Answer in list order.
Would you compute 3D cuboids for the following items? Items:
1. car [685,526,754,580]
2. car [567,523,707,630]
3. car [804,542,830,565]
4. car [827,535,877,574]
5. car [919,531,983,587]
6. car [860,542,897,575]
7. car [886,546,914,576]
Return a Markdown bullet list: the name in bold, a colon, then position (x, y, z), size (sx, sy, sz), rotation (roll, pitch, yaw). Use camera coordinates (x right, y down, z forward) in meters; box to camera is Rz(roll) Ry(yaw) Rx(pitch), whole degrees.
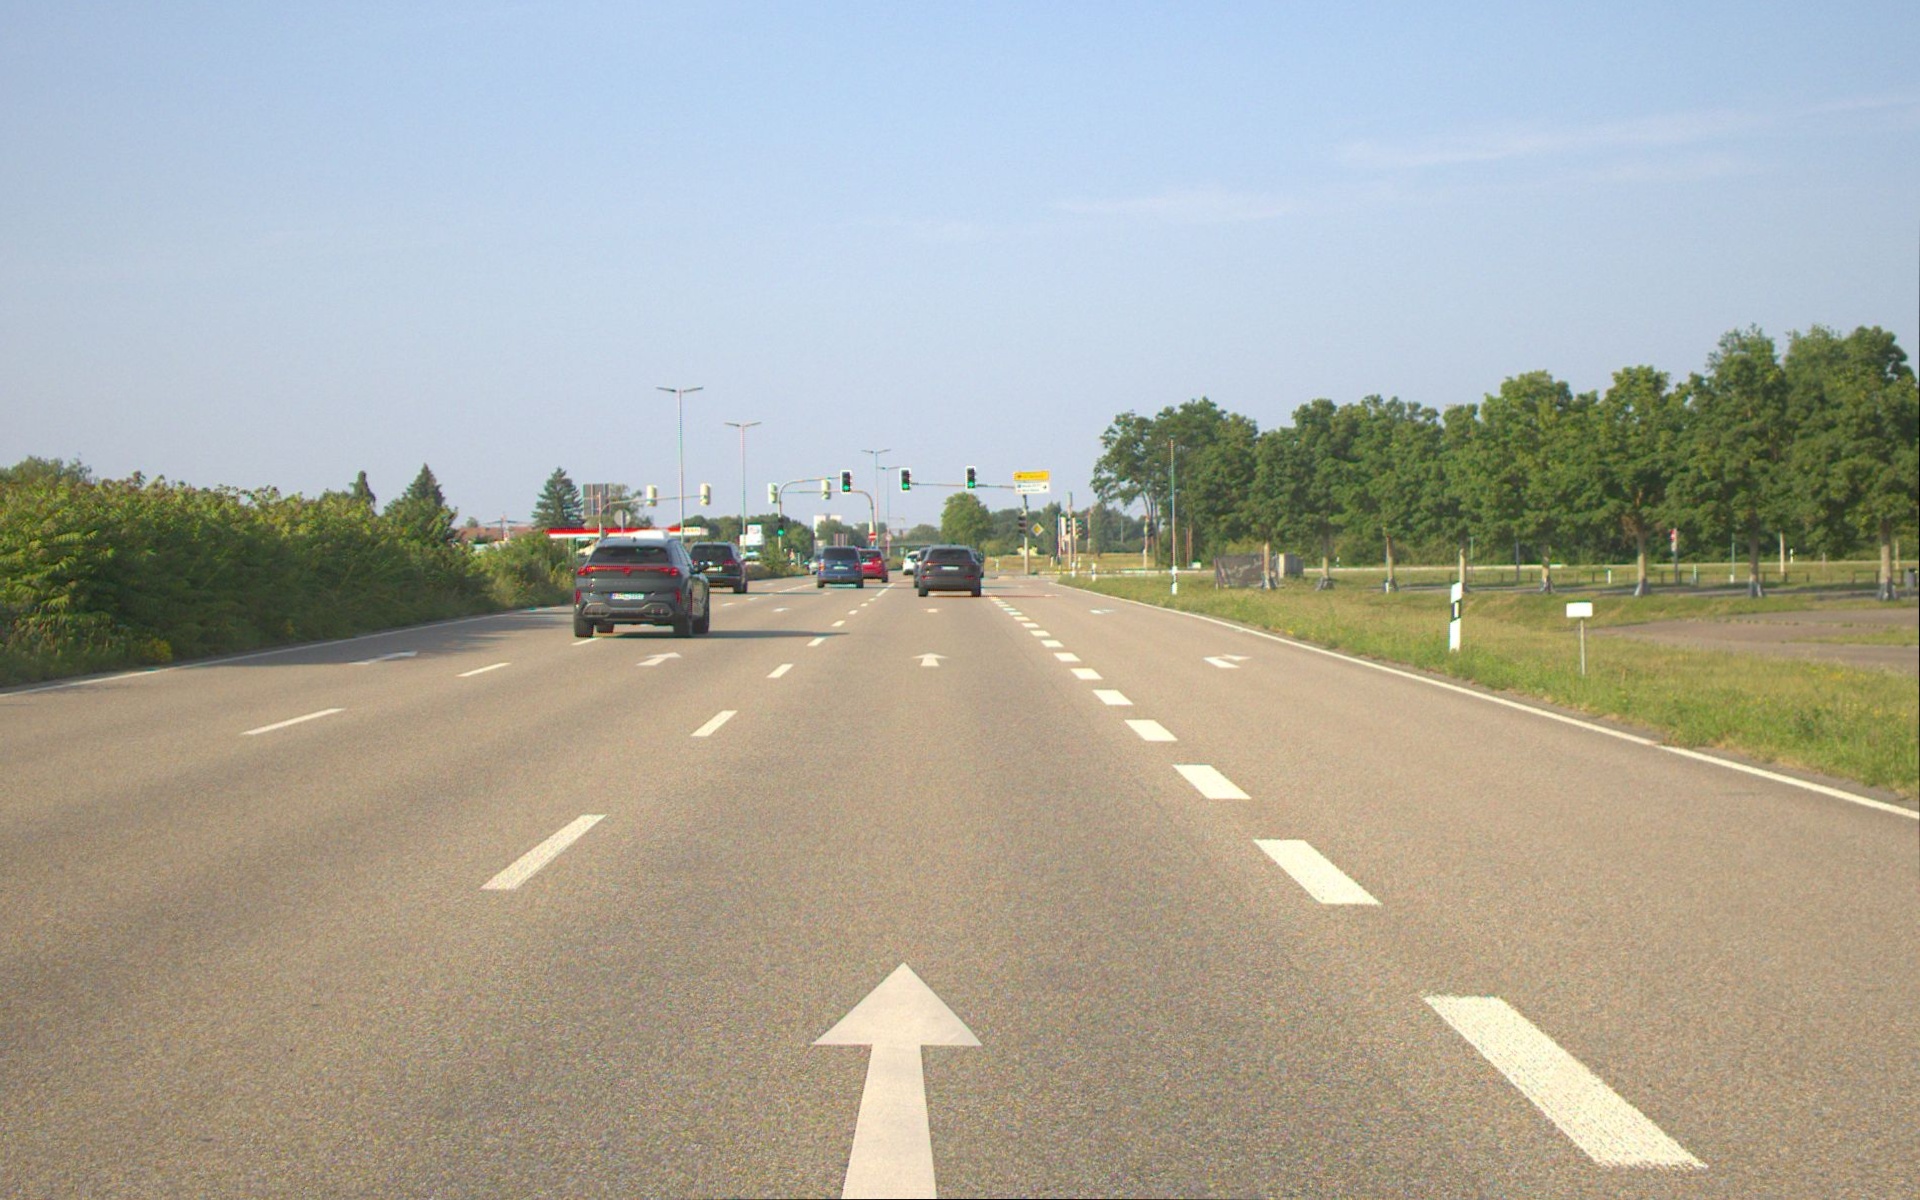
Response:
- **car**: position (-7.895, -1.555, 113.142), size (1.932, 1.674, 4.401), rotation (2, 1, 0)
- **car**: position (-5.166, -0.409, 55.466), size (1.845, 1.606, 4.401), rotation (2, 1, 0)
- **car**: position (-9.726, -3.181, 234.609), size (1.600, 1.527, 4.000), rotation (2, 1, 0)
- **car**: position (-4.222, -1.779, 134.818), size (1.812, 1.458, 4.401), rotation (2, 1, 0)
- **car**: position (-0.299, -1.305, 108.401), size (1.932, 1.674, 4.401), rotation (2, 1, 0)
- **car**: position (-3.883, -1.984, 163.563), size (1.647, 1.458, 3.981), rotation (2, 1, 0)
- **car**: position (-3.579, -2.299, 204.602), size (1.645, 1.722, 3.401), rotation (1, 0, -1)
